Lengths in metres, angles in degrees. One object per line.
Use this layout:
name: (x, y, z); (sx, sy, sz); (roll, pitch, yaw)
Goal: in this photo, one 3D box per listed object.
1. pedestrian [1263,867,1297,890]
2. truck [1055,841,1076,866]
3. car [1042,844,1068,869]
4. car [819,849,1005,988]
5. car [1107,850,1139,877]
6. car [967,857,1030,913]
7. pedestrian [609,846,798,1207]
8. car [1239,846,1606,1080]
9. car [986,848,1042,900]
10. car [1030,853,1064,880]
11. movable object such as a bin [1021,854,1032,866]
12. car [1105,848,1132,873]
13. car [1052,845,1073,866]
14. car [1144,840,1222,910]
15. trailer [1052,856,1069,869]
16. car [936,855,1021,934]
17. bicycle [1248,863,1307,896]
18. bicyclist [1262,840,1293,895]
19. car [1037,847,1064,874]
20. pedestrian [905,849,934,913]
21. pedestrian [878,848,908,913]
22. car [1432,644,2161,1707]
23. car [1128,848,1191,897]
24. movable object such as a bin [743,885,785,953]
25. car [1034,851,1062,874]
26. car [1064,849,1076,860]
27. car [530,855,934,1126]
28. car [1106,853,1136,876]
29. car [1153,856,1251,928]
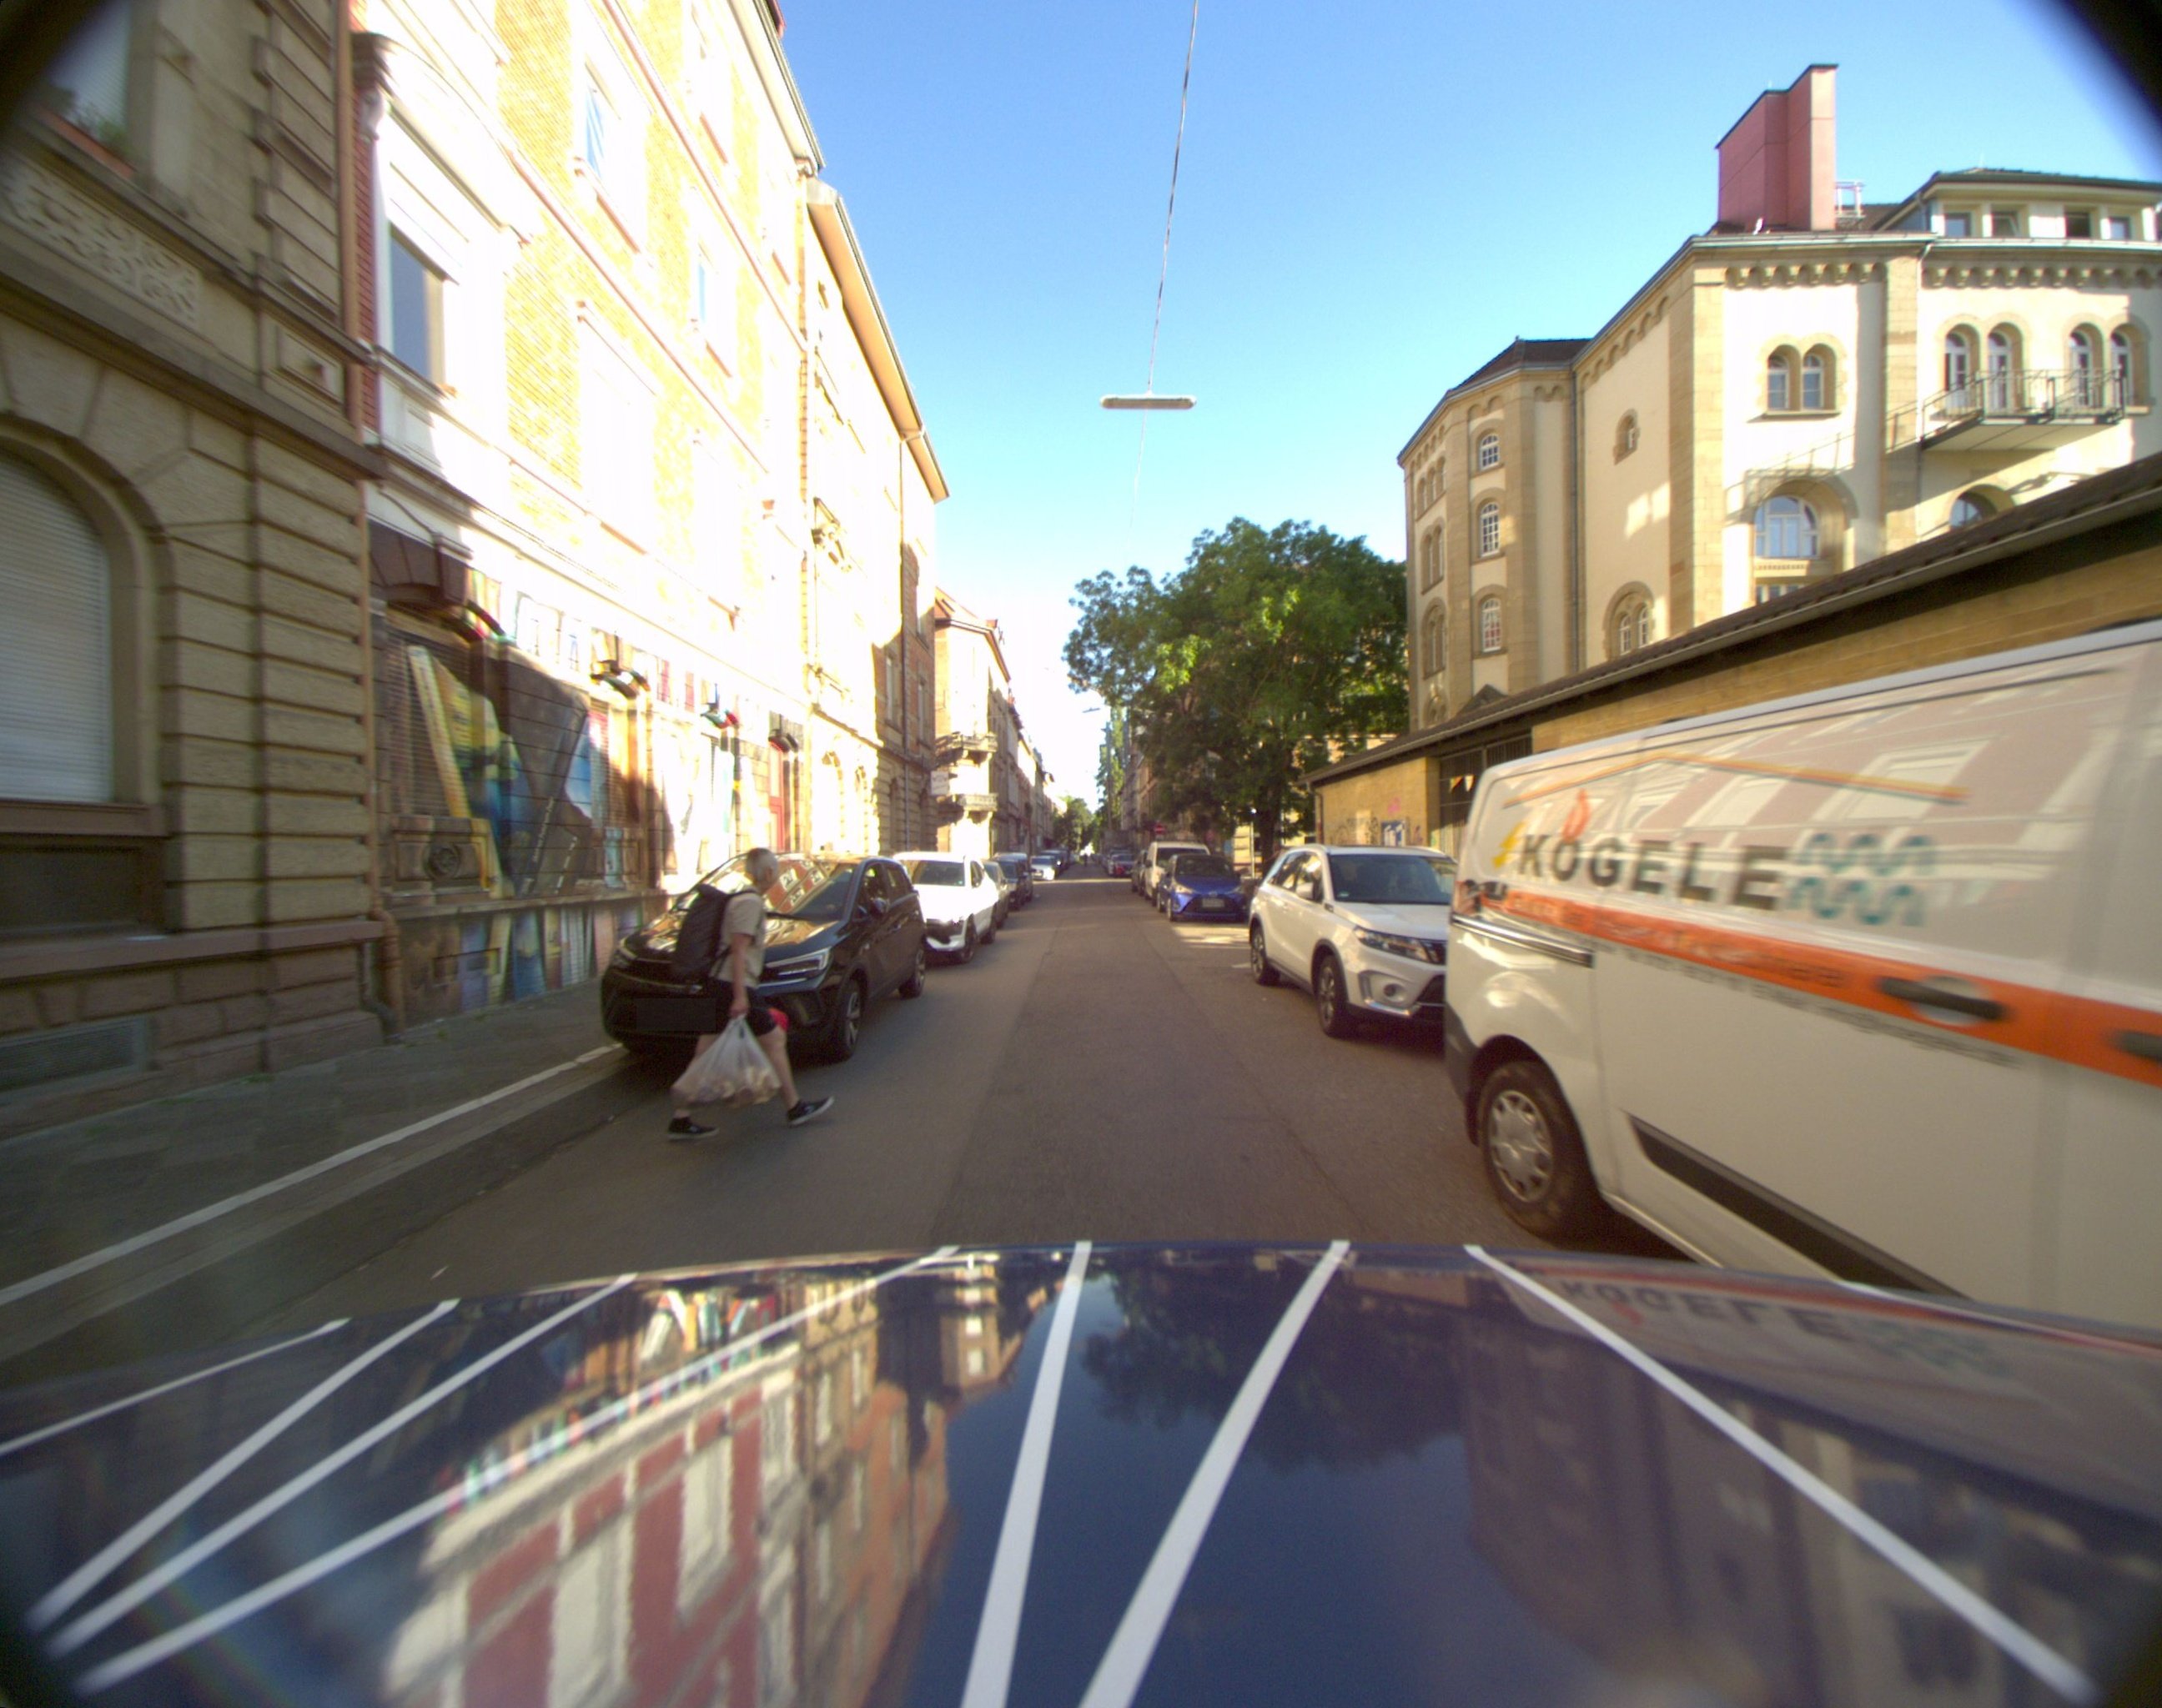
pedestrian: (7.088, 0.874, 27.024); (0.920, 0.773, 0.701); (-1, 1, -23)
truck: (-1.775, -0.088, 85.208); (2.154, 2.642, 6.251); (3, 0, -2)
car: (-2.166, 0.179, 64.510); (1.836, 2.002, 4.741); (-3, 1, 1)
car: (-2.427, 0.834, 12.054); (1.812, 1.680, 4.214); (-3, 1, 1)
car: (2.537, 0.554, 46.492); (1.727, 1.472, 4.089); (-3, 1, 1)
car: (-2.399, 0.862, 22.824); (1.539, 1.504, 3.681); (-1, 0, -1)
pedestrian: (-2.006, 0.857, 4.138); (0.679, 1.762, 0.641); (-3, 1, -12)
car: (2.769, 0.742, 7.192); (1.746, 1.577, 3.868); (-2, 1, 1)
car: (-2.319, 0.658, 27.144); (1.708, 1.704, 3.937); (-1, 0, -1)
car: (-2.015, 0.714, 45.788); (1.710, 1.450, 4.511); (-3, 1, 1)
movable object such as a bin: (-4.776, 0.514, 66.691); (0.898, 1.055, 0.722); (1, 1, -2)
car: (2.808, 0.451, 57.974); (1.897, 1.774, 4.607); (-3, 1, 1)
car: (-1.855, 0.099, 77.460); (1.849, 1.972, 4.575); (-4, 0, 0)
car: (2.944, 0.557, 22.772); (1.850, 1.851, 4.465); (-1, 0, 2)
trailer: (-1.967, 0.809, 72.850); (1.508, 1.106, 3.038); (-5, 1, -1)
car: (-2.299, 0.851, 17.866); (1.576, 1.516, 3.906); (-4, 1, -3)
bicycle: (6.460, 0.840, 25.102); (1.764, 0.917, 0.827); (-4, 0, 9)
bicyclist: (6.493, 0.443, 25.080); (0.806, 1.713, 0.692); (-5, 1, 9)
car: (-2.313, 0.479, 58.905); (1.774, 1.949, 4.264); (-3, 1, 1)
pedestrian: (-4.138, 0.681, 19.503); (0.592, 1.594, 0.727); (0, 0, -1)
pedestrian: (-4.770, 0.665, 19.285); (0.575, 1.612, 0.734); (0, 0, -1)
car: (2.589, 0.654, 1.266); (1.869, 1.946, 4.609); (0, 1, 0)
car: (2.840, 0.618, 28.187); (1.745, 1.637, 4.288); (-1, 0, -2)
movable object such as a bin: (-5.182, 1.049, 12.445); (0.550, 1.046, 0.602); (1, 1, -17)
car: (-2.216, 0.568, 52.049); (1.670, 1.470, 3.888); (-1, 0, 1)
car: (-1.633, 0.067, 115.334); (1.603, 1.652, 4.060); (-4, 0, 1)
car: (-2.574, 0.869, 6.751); (1.691, 1.633, 3.924); (-2, 1, 1)
car: (2.675, 0.669, 51.663); (1.678, 1.412, 3.873); (-3, 1, -1)
car: (2.725, 0.805, 17.850); (1.691, 1.468, 3.860); (0, 0, 0)
